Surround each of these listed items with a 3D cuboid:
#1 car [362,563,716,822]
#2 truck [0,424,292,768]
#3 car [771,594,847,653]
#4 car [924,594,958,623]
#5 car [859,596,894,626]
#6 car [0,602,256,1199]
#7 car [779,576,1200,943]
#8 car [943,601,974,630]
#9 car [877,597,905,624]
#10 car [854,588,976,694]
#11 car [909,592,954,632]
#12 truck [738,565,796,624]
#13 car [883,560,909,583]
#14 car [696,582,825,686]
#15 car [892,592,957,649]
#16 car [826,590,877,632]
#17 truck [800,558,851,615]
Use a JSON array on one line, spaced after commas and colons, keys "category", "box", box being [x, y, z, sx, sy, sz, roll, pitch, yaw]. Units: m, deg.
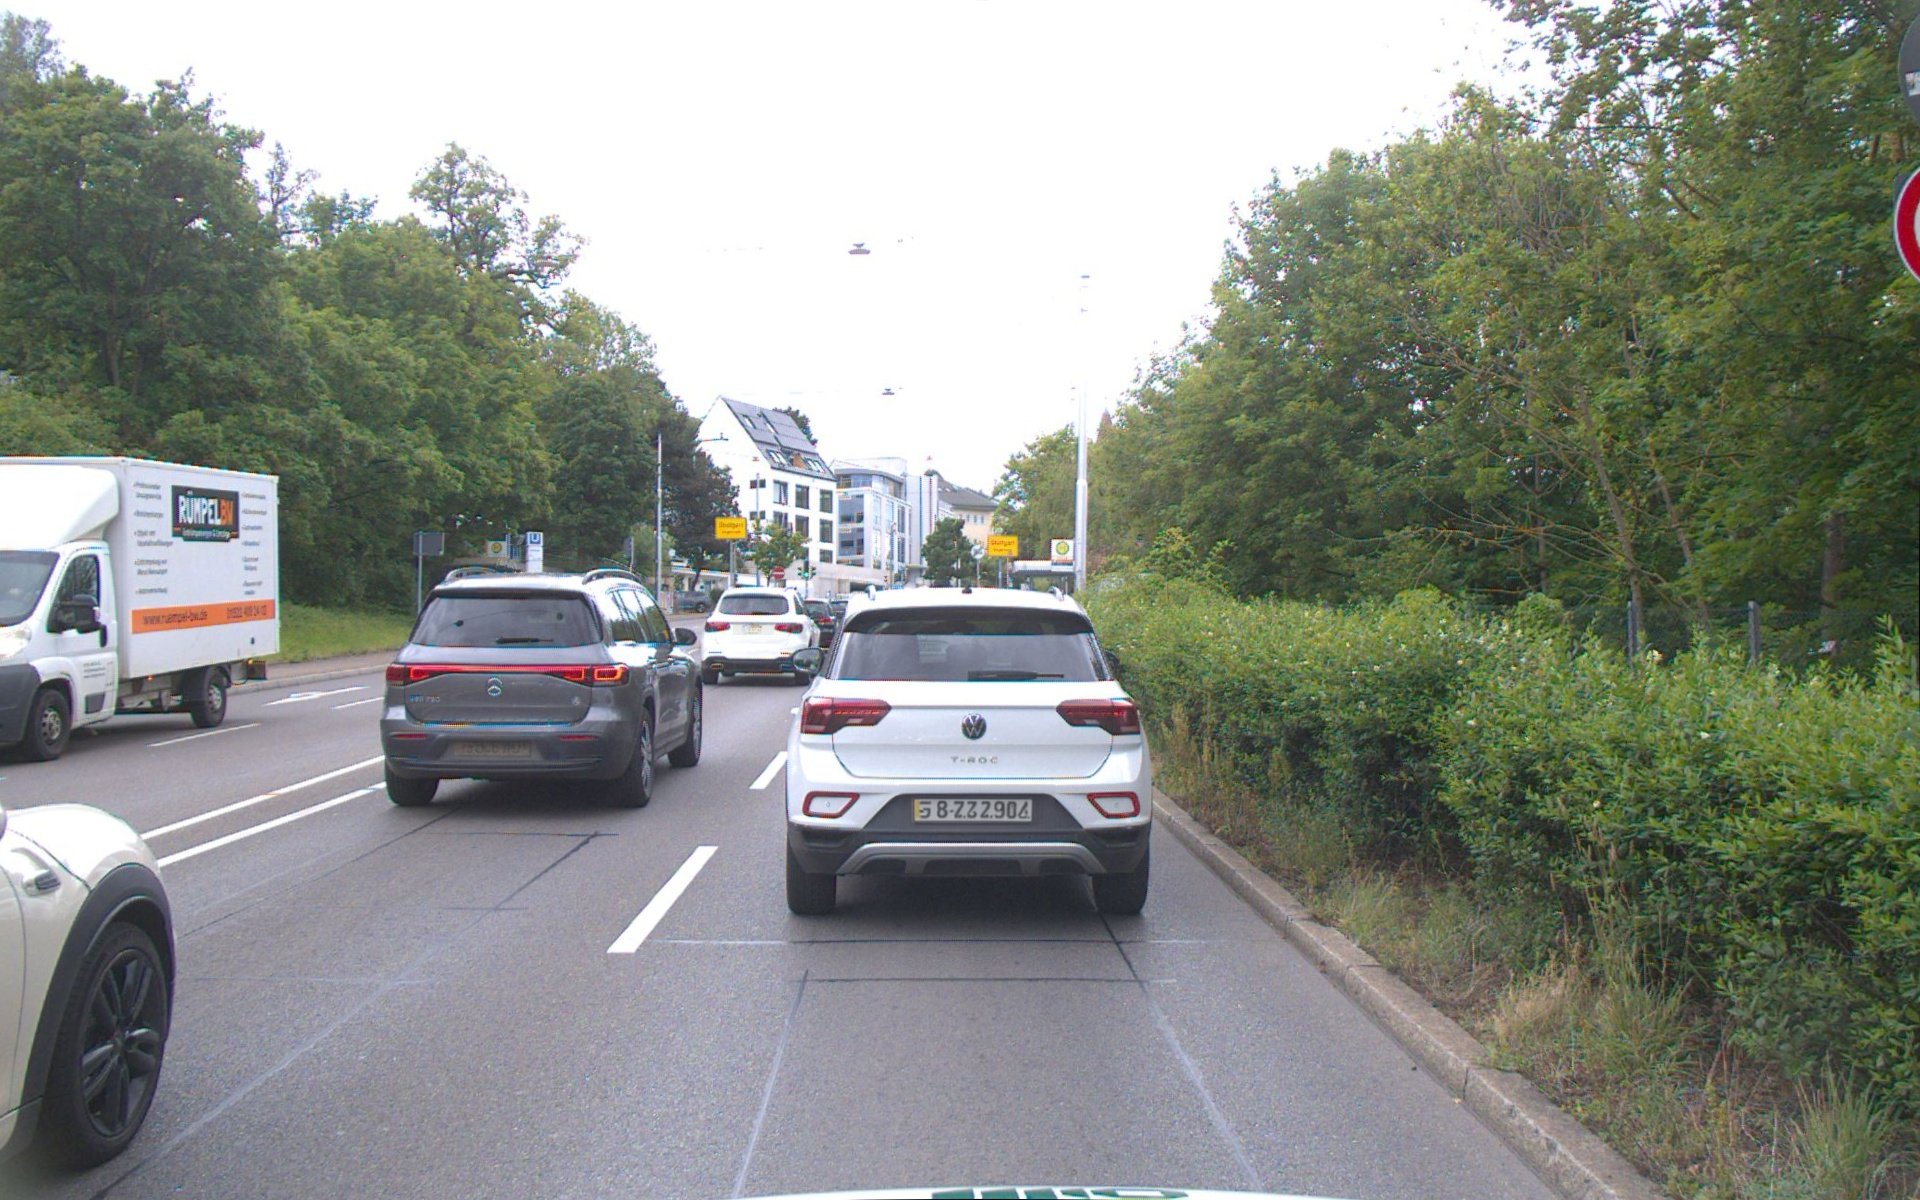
[{"category": "car", "box": [-3.061, 0.596, 12.963, 1.812, 1.680, 4.355, 0, 0, -2]}, {"category": "truck", "box": [-9.802, -0.003, 18.334, 2.247, 3.104, 6.975, -1, 0, -3]}, {"category": "car", "box": [-4.103, 0.601, 45.394, 1.792, 1.523, 3.999, -1, 0, -2]}, {"category": "car", "box": [-1.098, 0.477, 92.065, 1.792, 1.552, 3.999, -1, 0, -2]}, {"category": "car", "box": [-4.514, 0.577, 89.846, 1.792, 1.552, 3.999, -1, 0, -2]}, {"category": "car", "box": [-2.841, 0.735, 3.002, 1.650, 1.449, 3.731, 0, 0, -2]}, {"category": "car", "box": [0.073, 0.670, 9.053, 1.792, 1.552, 3.999, 0, 0, -2]}, {"category": "car", "box": [-0.144, 1.070, 116.215, 1.954, 2.004, 3.998, -1, 0, -3]}, {"category": "car", "box": [-4.545, 0.694, 109.109, 1.778, 1.685, 3.927, -1, 0, -2]}, {"category": "car", "box": [-0.726, 0.604, 26.723, 1.792, 1.552, 3.999, -1, 0, -2]}, {"category": "car", "box": [-1.198, 0.477, 68.268, 1.792, 1.552, 3.999, -1, 0, -2]}, {"category": "truck", "box": [-9.372, -0.269, 80.624, 2.315, 2.754, 4.476, -1, 0, -2]}, {"category": "car", "box": [-4.474, -2.012, 116.560, 1.792, 1.552, 3.999, -1, 0, -2]}, {"category": "car", "box": [-3.426, 0.555, 29.121, 1.879, 1.698, 3.999, 1, 0, -2]}, {"category": "car", "box": [-1.046, 0.571, 47.936, 1.792, 1.552, 3.999, -1, 0, -2]}, {"category": "car", "box": [-4.122, 0.399, 63.453, 1.792, 1.552, 3.999, -1, 0, -2]}, {"category": "truck", "box": [-6.923, -0.687, 85.264, 2.315, 2.830, 4.476, -1, 0, -2]}]
